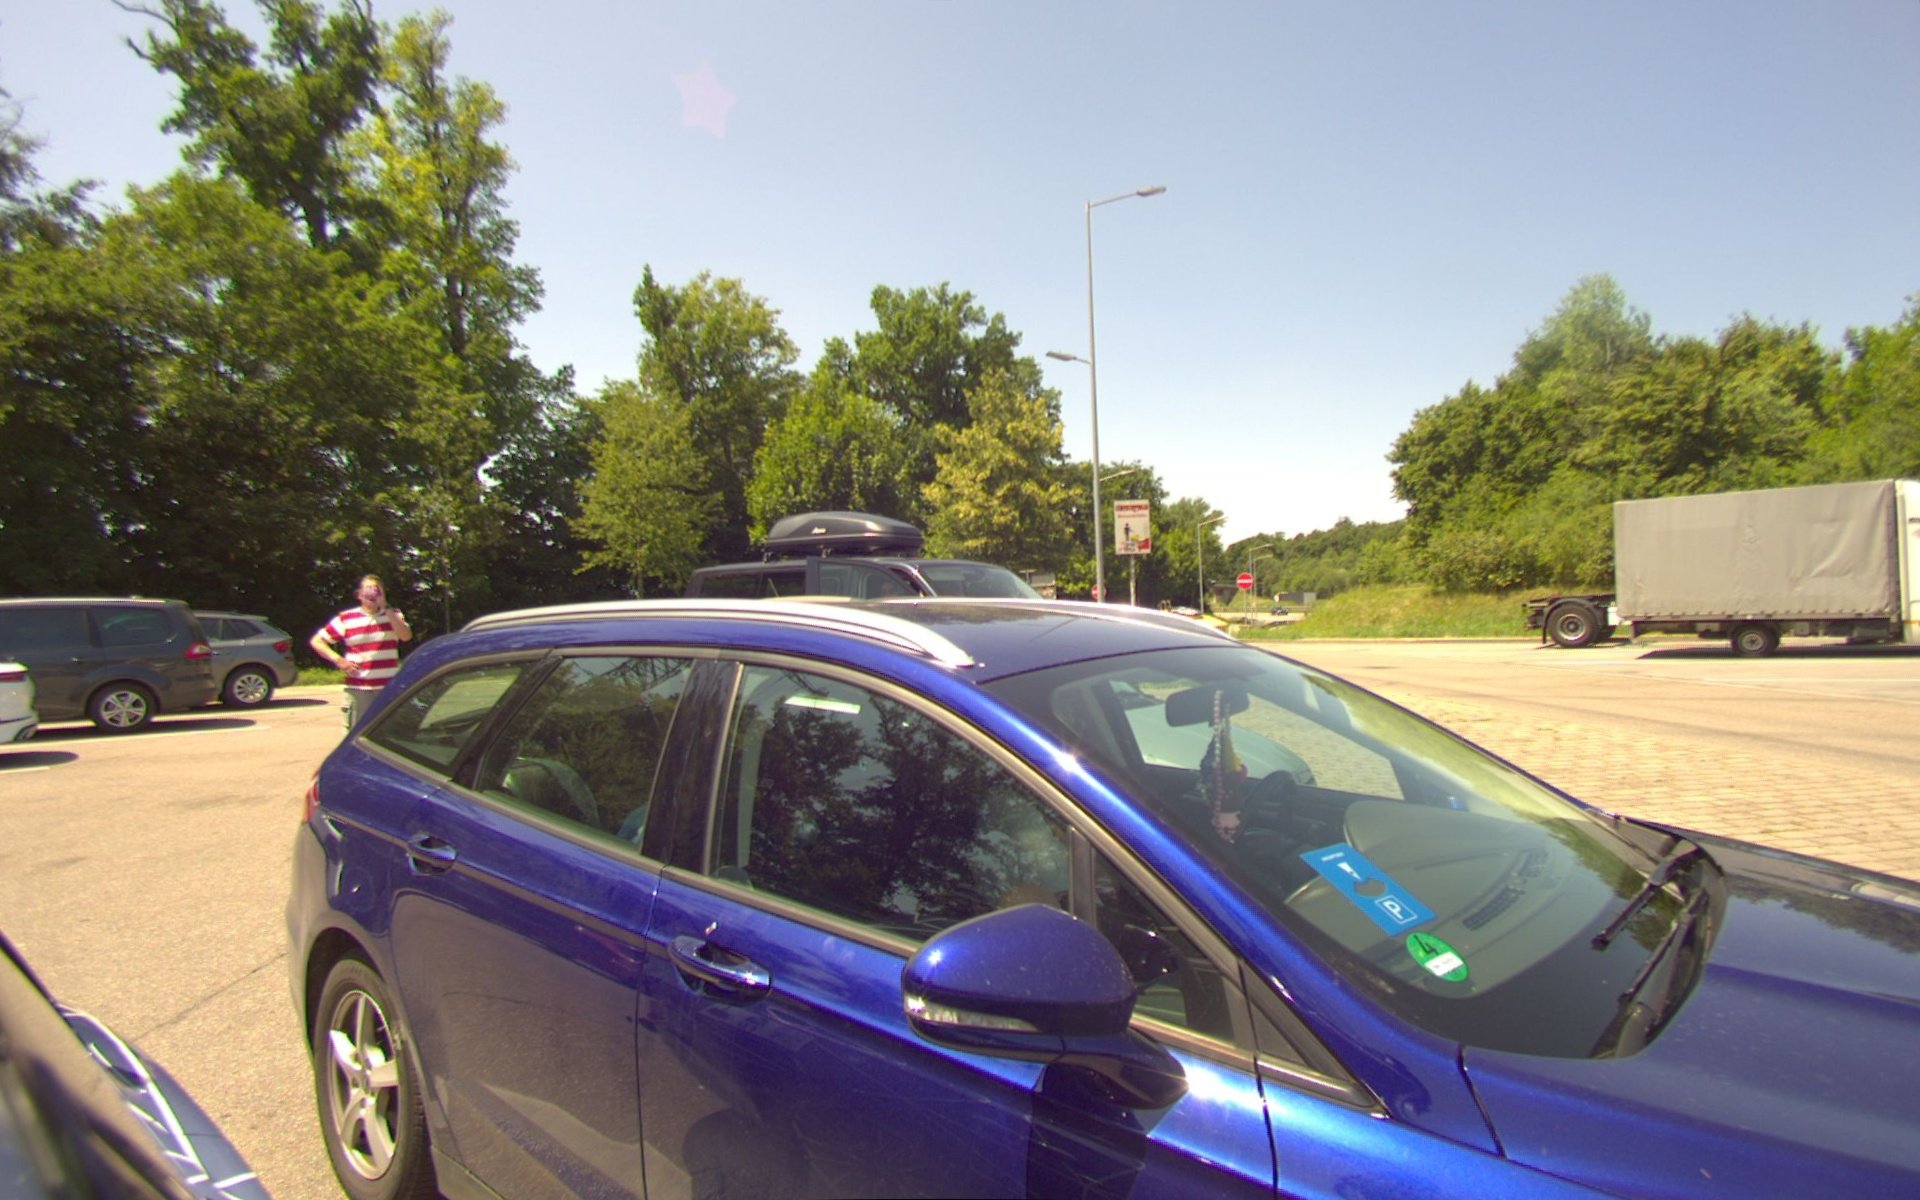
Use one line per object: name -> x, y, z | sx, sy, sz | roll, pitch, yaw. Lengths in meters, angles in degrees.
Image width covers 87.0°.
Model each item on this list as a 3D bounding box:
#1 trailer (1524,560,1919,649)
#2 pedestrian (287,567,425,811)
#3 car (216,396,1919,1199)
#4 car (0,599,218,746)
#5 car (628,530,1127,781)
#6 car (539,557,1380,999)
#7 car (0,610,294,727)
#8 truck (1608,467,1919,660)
trailer -> 17.697, 0.152, 23.111 | 8.098, 1.638, 2.187 | -4, -1, 41
pedestrian -> -4.692, 0.643, 7.857 | 0.744, 1.767, 0.786 | -1, 0, -45
car -> 0.224, 0.638, 2.076 | 4.569, 1.482, 1.735 | -3, 0, 40
car -> -11.640, 0.869, 12.659 | 3.767, 1.708, 1.654 | -1, 0, -38
car -> -0.902, 0.500, 9.661 | 4.558, 1.912, 1.740 | -3, 0, 32
car -> -0.331, 0.672, 5.613 | 4.569, 1.517, 1.735 | -3, 0, 40
car -> -12.632, 0.973, 15.666 | 3.767, 1.572, 1.654 | -1, 0, -38
truck -> 16.772, -0.652, 19.013 | 7.274, 3.269, 2.678 | -4, -1, 42
